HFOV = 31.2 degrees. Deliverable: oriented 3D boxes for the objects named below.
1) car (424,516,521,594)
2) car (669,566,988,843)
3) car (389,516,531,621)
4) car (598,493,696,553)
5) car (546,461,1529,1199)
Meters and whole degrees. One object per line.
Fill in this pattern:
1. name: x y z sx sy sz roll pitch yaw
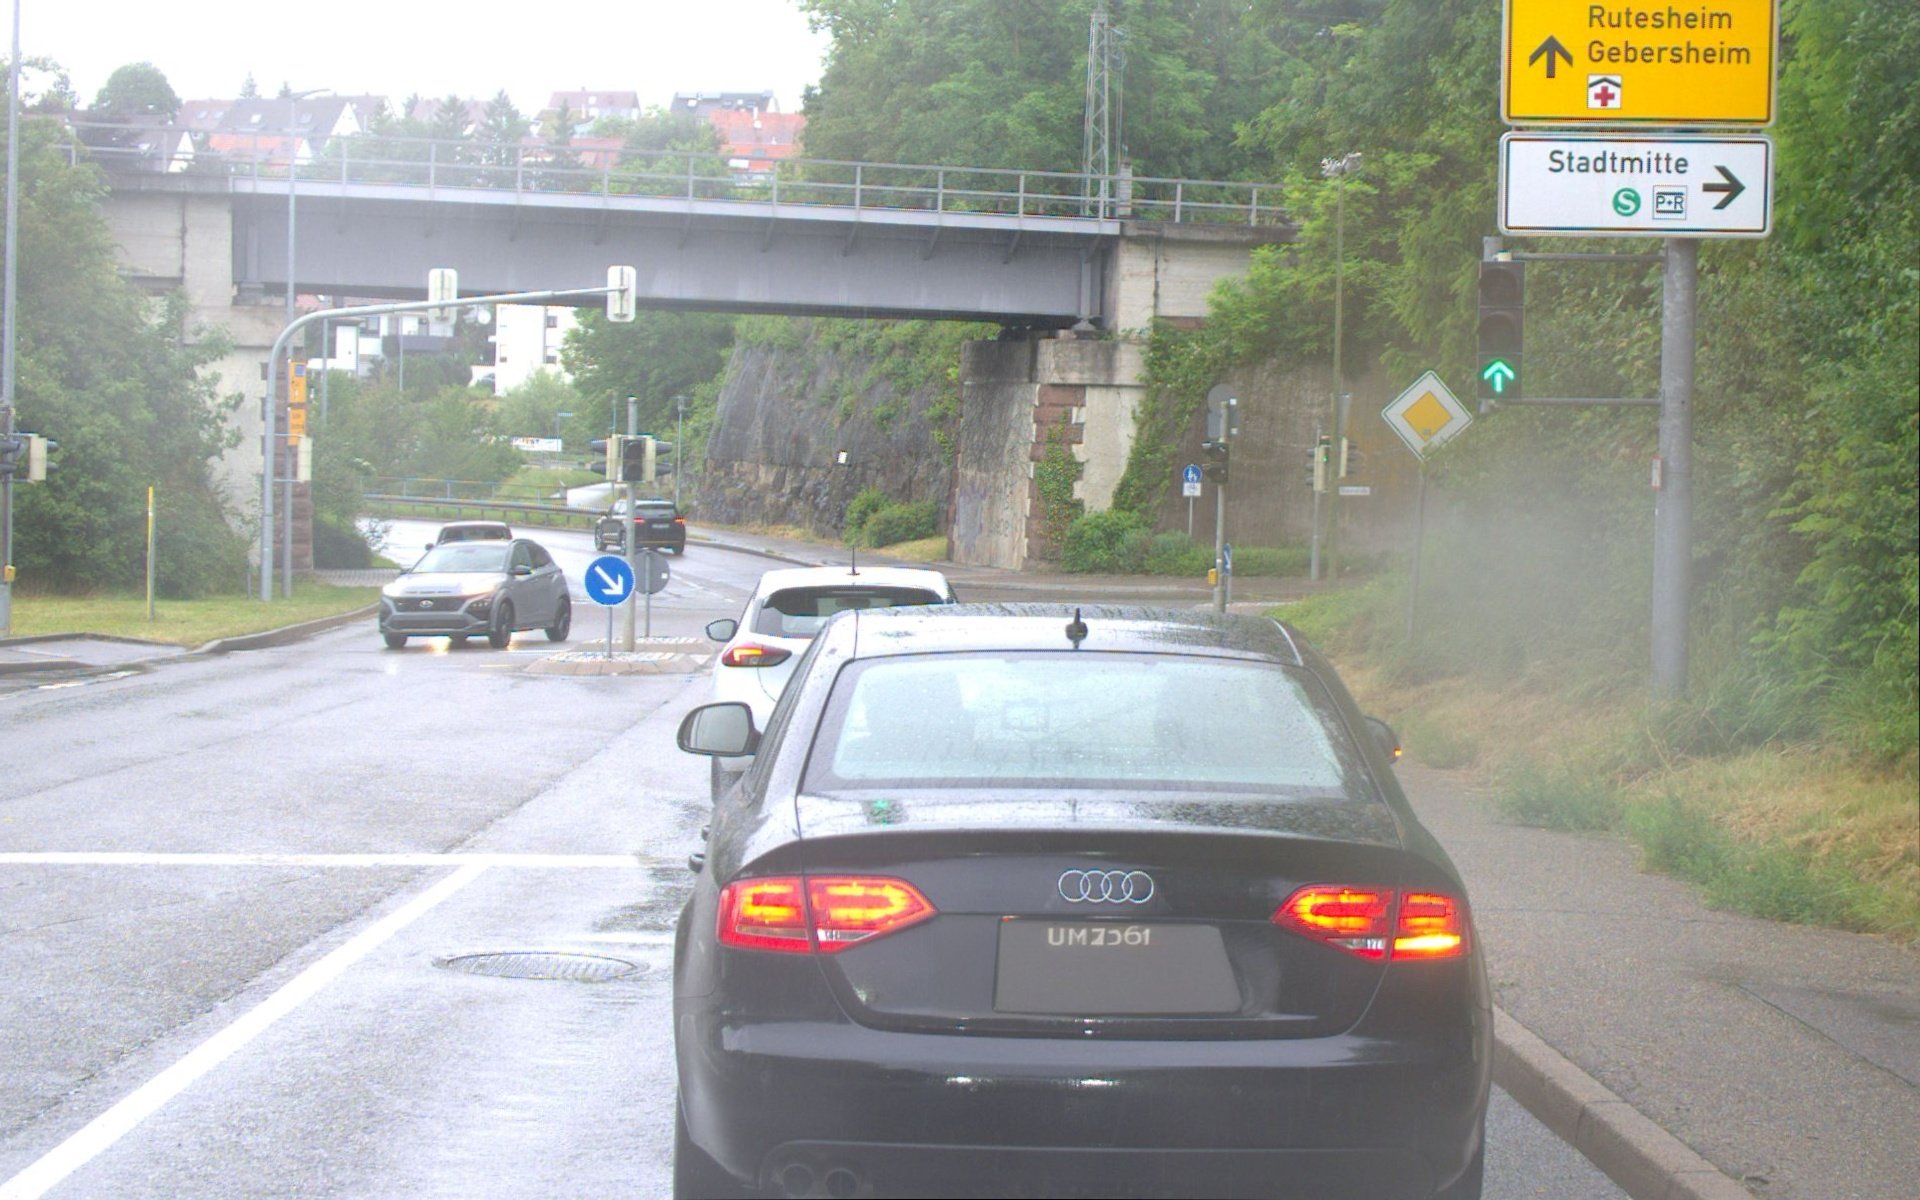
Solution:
1. car: -10.450 -0.967 73.836 1.993 1.623 4.001 0 1 -7
2. car: -0.784 0.612 21.782 1.823 1.579 4.000 0 0 -1
3. car: -7.274 -0.471 50.312 1.639 1.465 4.000 0 1 -2
4. car: -9.117 -2.257 99.828 1.993 1.590 4.002 -1 4 -18
5. car: 0.123 0.556 8.573 1.870 1.611 4.000 0 0 -1
